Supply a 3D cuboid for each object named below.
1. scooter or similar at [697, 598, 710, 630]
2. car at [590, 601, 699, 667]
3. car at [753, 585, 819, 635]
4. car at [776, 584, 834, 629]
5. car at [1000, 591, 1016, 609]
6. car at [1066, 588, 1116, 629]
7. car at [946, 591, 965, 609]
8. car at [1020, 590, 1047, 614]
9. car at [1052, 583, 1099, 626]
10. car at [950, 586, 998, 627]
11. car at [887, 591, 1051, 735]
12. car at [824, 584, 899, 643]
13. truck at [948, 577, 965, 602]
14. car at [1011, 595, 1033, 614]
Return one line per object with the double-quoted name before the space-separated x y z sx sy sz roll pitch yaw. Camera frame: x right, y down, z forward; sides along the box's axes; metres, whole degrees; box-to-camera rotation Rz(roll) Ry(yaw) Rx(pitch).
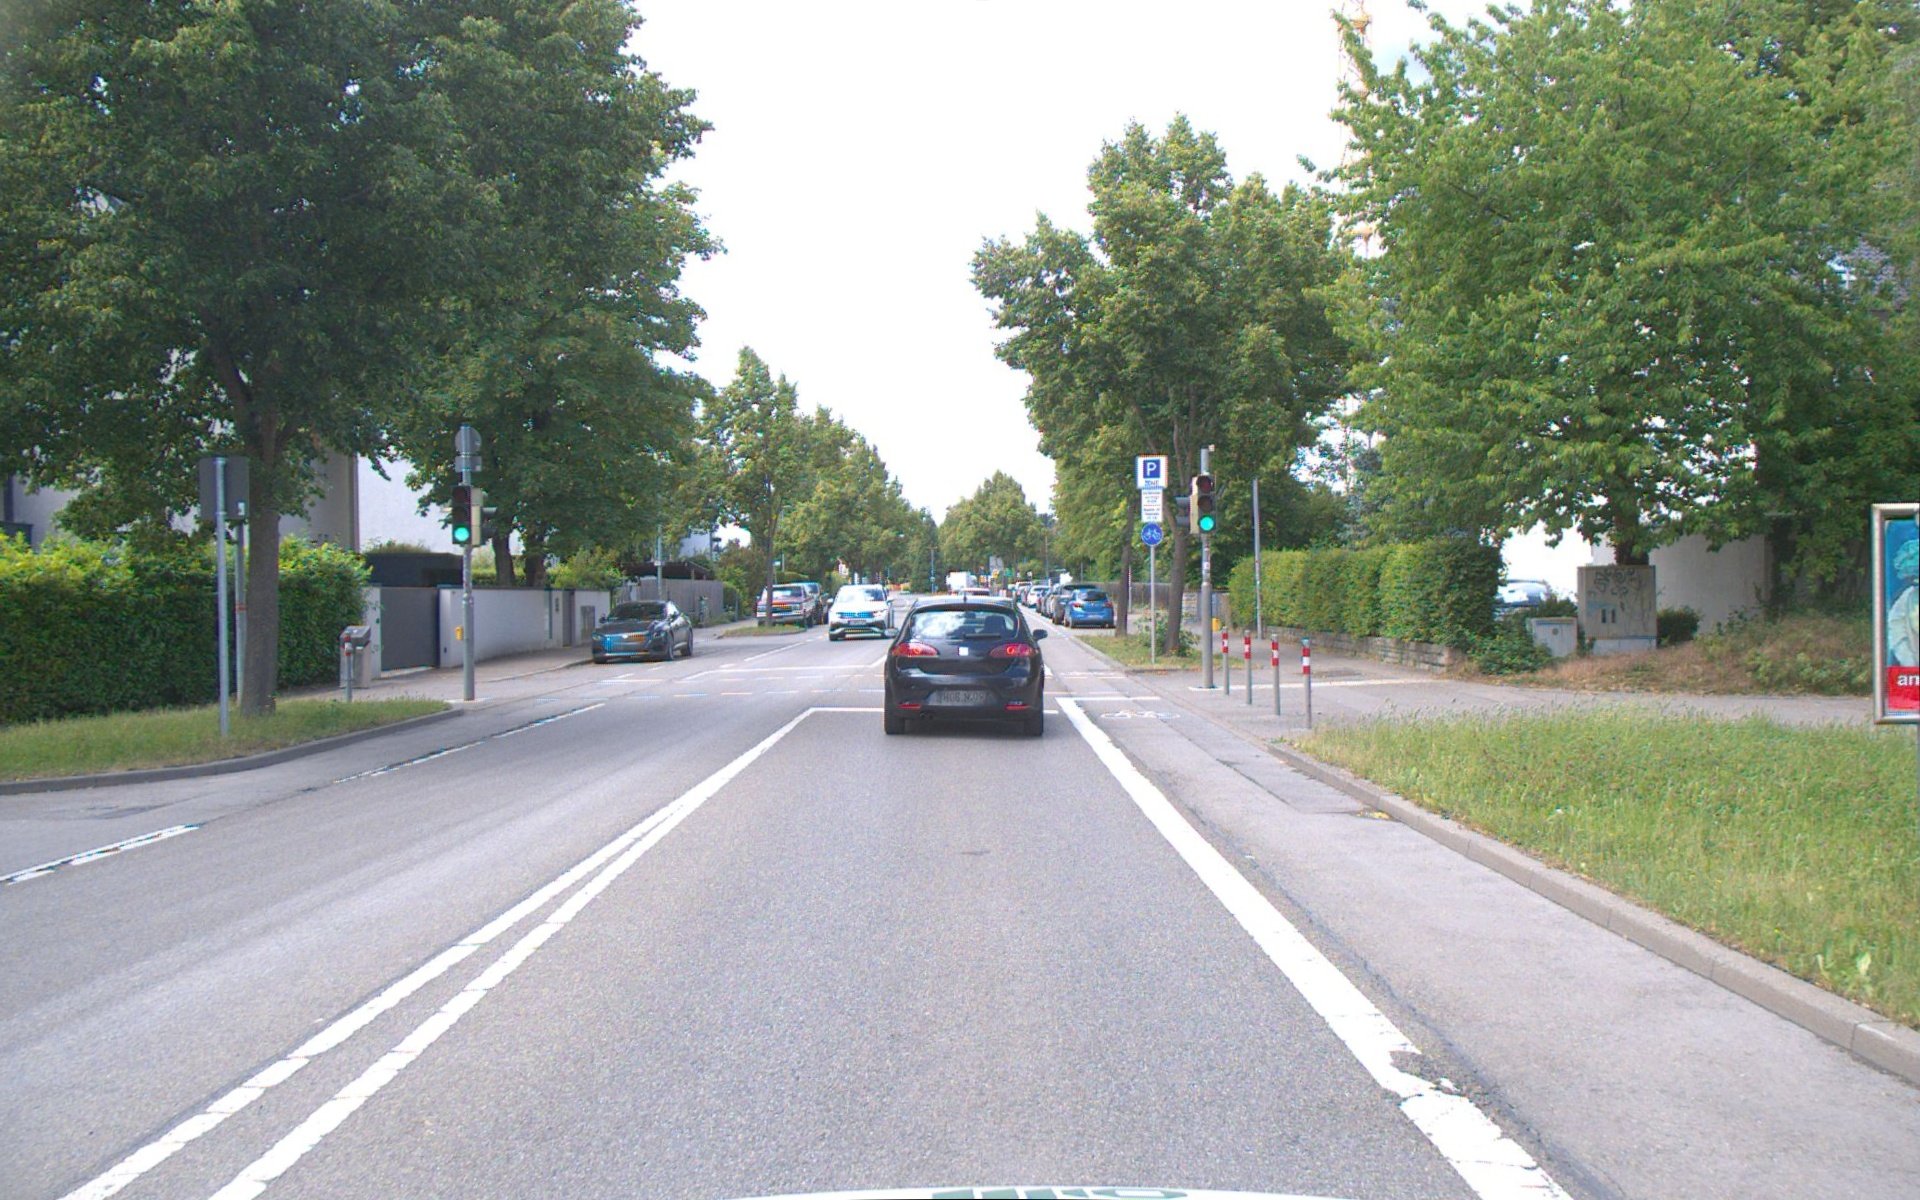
"scooter or similar" -10.219 0.559 65.930 0.379 1.251 1.497 -1 0 -4
"car" -7.574 0.774 40.096 1.683 1.419 4.801 -2 0 0
"car" -7.240 0.389 69.392 2.057 1.929 5.784 -2 0 0
"car" -7.144 0.297 76.821 2.057 1.929 5.784 -2 0 0
"car" 5.186 -0.044 179.628 1.653 1.908 4.213 -1 0 0
"car" 5.015 0.326 63.750 1.653 1.516 3.355 -1 0 0
"car" -0.474 -0.019 163.885 1.843 1.718 4.213 -1 0 0
"car" 4.962 0.116 112.307 1.653 1.591 4.213 -1 0 0
"car" 4.771 0.183 69.041 1.653 1.741 4.213 -1 0 0
"car" 0.541 0.250 65.677 1.808 1.536 3.811 1 0 0
"car" 0.051 0.638 18.591 1.629 1.426 3.811 1 0 -1
"car" -2.986 0.382 50.948 1.836 1.663 4.341 -2 0 2
"truck" -0.473 -1.406 224.937 2.232 3.158 8.509 1 0 -1
"car" 5.106 0.358 136.590 1.653 1.591 4.213 -1 0 0
